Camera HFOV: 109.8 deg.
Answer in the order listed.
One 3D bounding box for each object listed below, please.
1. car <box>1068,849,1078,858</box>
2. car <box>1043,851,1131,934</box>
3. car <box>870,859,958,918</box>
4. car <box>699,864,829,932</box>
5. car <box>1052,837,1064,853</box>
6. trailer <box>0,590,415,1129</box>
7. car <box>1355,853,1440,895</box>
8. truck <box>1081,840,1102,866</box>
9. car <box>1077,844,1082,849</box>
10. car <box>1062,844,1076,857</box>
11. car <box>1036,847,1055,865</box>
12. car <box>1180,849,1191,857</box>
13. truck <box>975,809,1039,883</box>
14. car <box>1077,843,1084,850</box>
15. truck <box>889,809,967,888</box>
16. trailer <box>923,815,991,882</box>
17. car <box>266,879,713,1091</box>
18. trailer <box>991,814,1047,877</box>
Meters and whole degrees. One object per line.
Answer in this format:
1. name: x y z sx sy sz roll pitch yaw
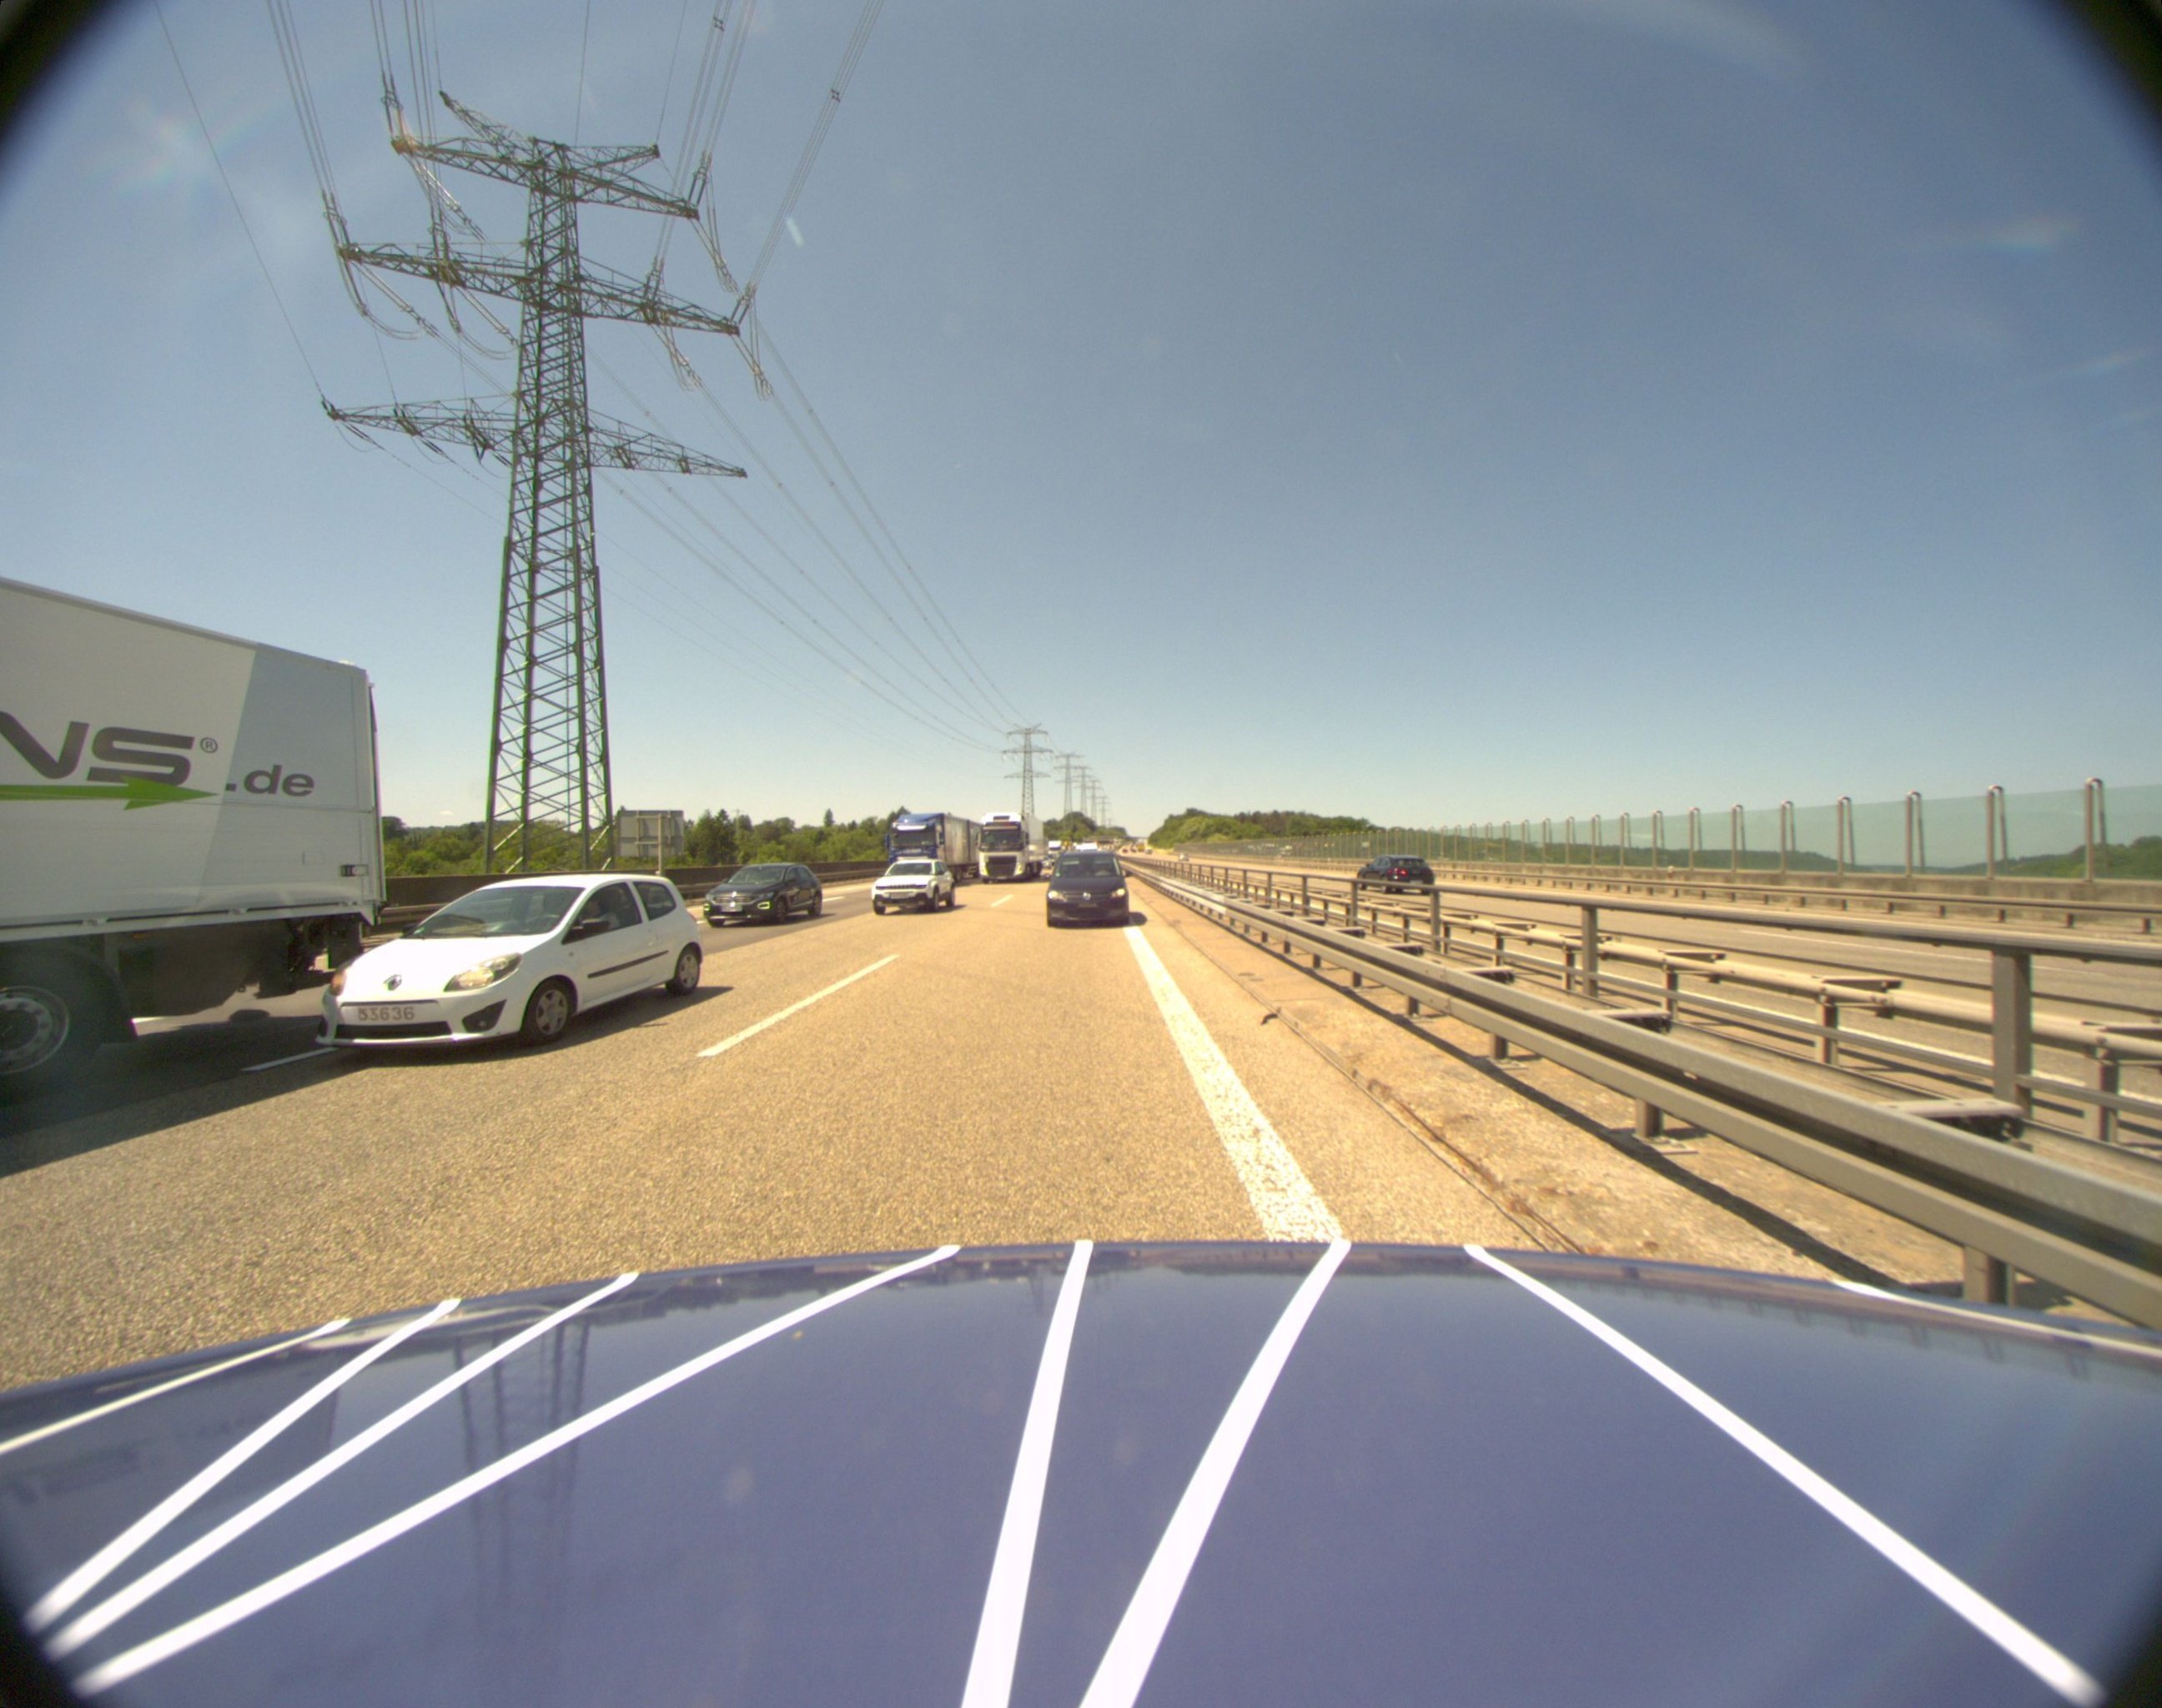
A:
1. car: -1.605 -0.182 149.415 1.701 1.599 3.639 -2 1 1
2. car: 0.131 0.773 17.346 1.739 1.607 3.911 -2 0 0
3. car: -4.891 0.946 22.716 1.722 1.526 3.753 -2 0 0
4. car: -8.262 1.082 20.183 1.709 1.497 3.888 -2 0 1
5. car: -4.870 -1.969 164.183 2.273 3.304 6.288 -2 1 0
6. trailer: -8.601 0.078 3.910 2.851 3.573 8.291 -2 0 0
7. car: 13.184 0.793 31.942 1.784 1.560 4.386 1 1 1
8. truck: 1.189 -0.123 84.719 2.100 2.700 5.864 -2 1 1
9. car: -0.435 -2.421 249.478 1.701 1.599 3.639 -2 1 1
10. car: -1.822 -0.548 116.707 1.998 2.002 3.999 -2 1 1
11. car: -3.732 0.160 79.483 1.672 1.761 3.846 -2 1 1
12. car: 19.111 -0.124 138.951 1.608 1.386 3.676 1 1 1
13. truck: -4.189 -0.473 44.437 2.914 3.870 6.739 -2 1 0
14. car: -0.129 -2.060 209.736 1.890 2.002 3.999 -2 1 1
15. truck: -8.384 -0.313 42.678 2.517 3.945 7.927 -2 0 1
16. trailer: -8.248 -0.424 52.077 2.543 3.971 10.884 -2 1 1
17. car: -5.417 1.069 7.643 1.584 1.432 3.629 -2 0 0
18. trailer: -4.122 -0.627 52.705 2.898 3.847 9.773 -2 1 0
